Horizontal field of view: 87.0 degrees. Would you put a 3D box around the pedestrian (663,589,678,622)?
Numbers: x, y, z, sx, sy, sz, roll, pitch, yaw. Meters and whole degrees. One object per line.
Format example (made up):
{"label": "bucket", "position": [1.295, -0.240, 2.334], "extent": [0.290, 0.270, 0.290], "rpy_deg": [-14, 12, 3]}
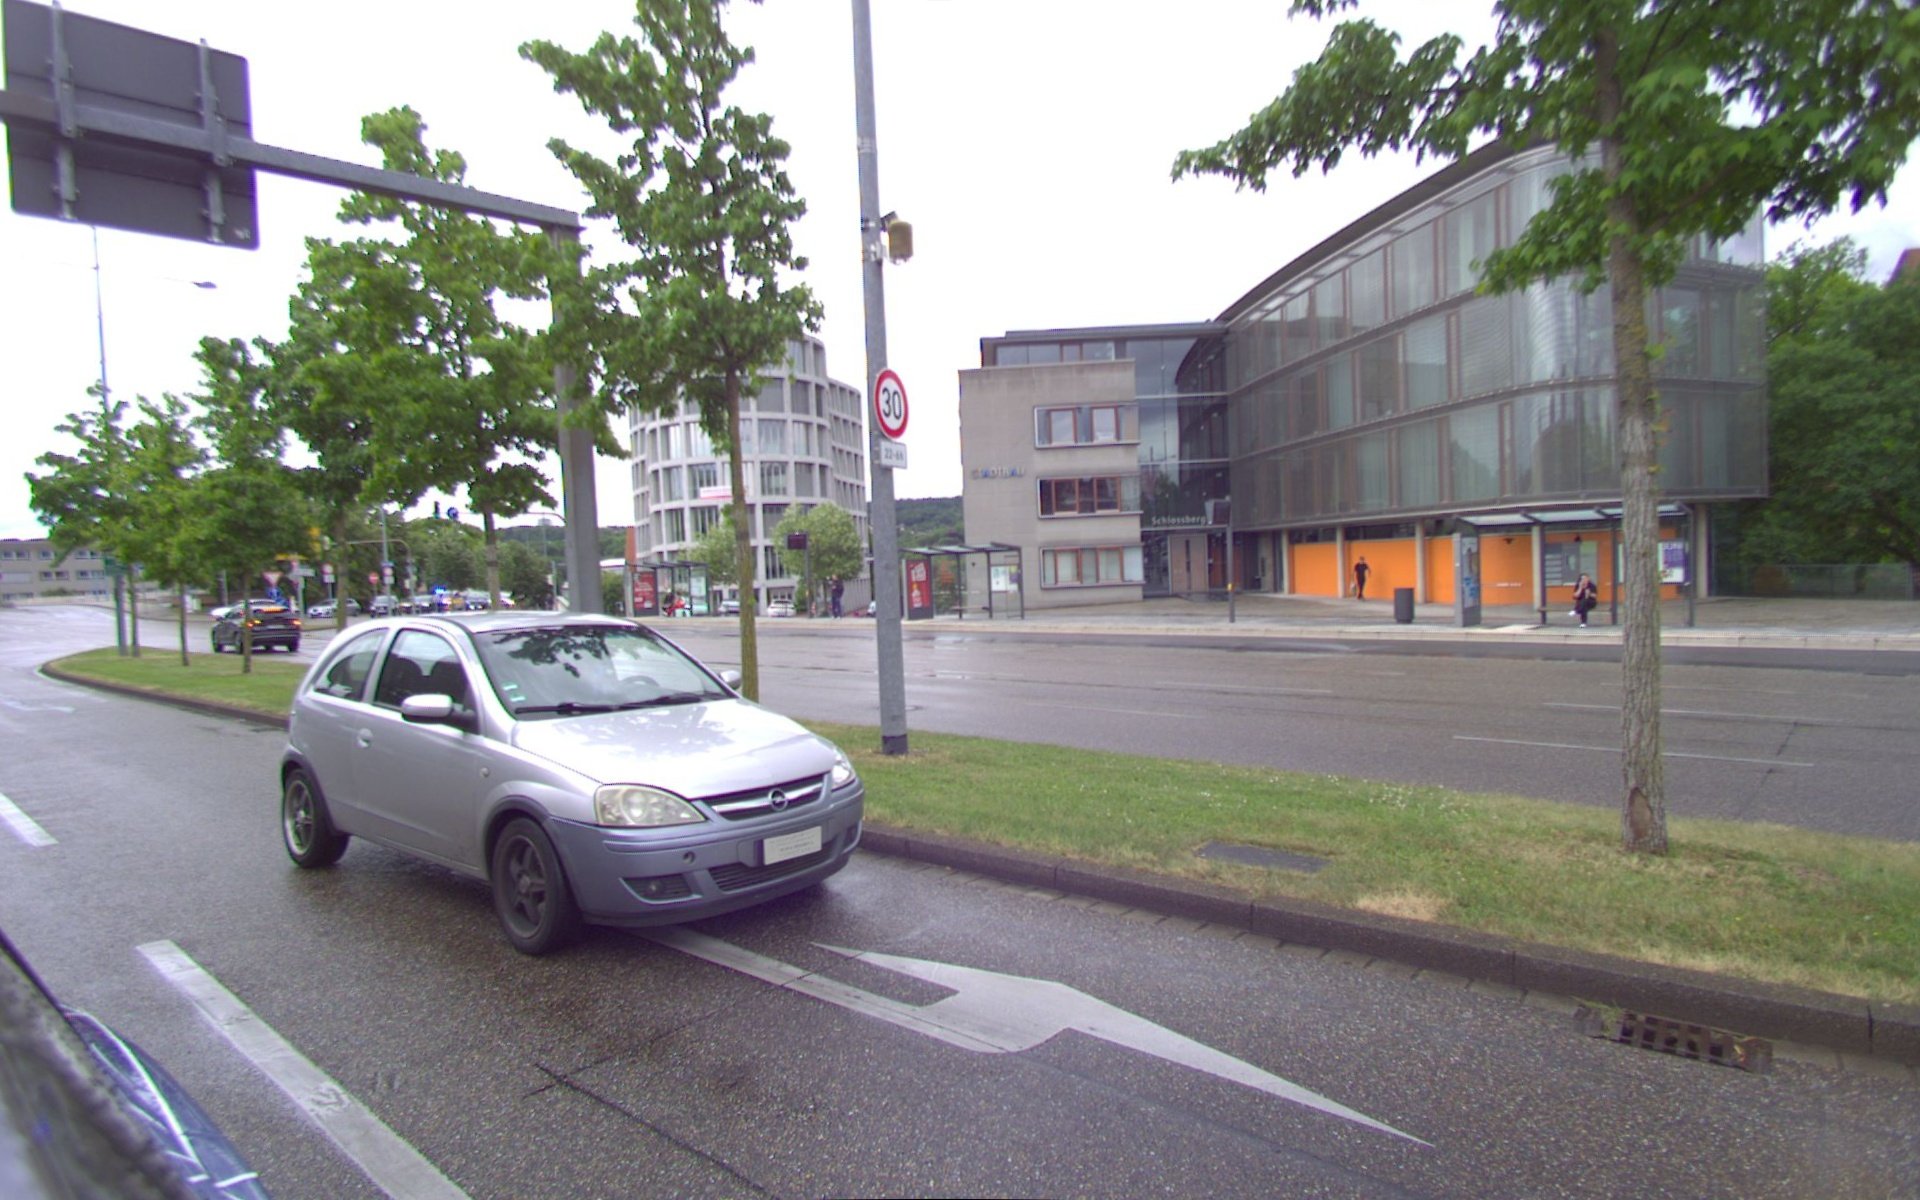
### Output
{"label": "pedestrian", "position": [-14.557, 0.291, 50.913], "extent": [0.535, 1.647, 0.514], "rpy_deg": [-1, 0, 41]}

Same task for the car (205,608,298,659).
{"label": "car", "position": [-25.291, 1.152, 36.048], "extent": [4.600, 1.652, 1.802], "rpy_deg": [-1, 1, 43]}

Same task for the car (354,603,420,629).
{"label": "car", "position": [-41.395, 1.147, 73.287], "extent": [2.164, 1.725, 4.919], "rpy_deg": [-1, 0, -3]}

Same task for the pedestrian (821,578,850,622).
{"label": "pedestrian", "position": [-5.114, 0.008, 41.609], "extent": [0.964, 1.773, 0.783], "rpy_deg": [-1, 0, 12]}

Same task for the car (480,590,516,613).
{"label": "car", "position": [-44.047, 0.137, 96.561], "extent": [1.969, 2.029, 4.005], "rpy_deg": [-1, 0, -6]}

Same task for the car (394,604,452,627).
{"label": "car", "position": [-42.685, 1.209, 80.537], "extent": [2.164, 1.725, 4.919], "rpy_deg": [-1, 0, -3]}

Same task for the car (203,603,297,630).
{"label": "car", "position": [-48.522, 1.103, 69.300], "extent": [2.179, 1.725, 4.885], "rpy_deg": [-1, 0, 19]}

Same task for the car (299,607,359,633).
{"label": "car", "position": [-46.773, 1.463, 75.072], "extent": [1.972, 1.807, 4.000], "rpy_deg": [-1, 0, -1]}

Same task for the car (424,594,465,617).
{"label": "car", "position": [-46.955, 0.497, 92.293], "extent": [2.272, 2.029, 5.048], "rpy_deg": [-2, 0, -14]}

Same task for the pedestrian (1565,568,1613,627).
{"label": "pedestrian", "position": [14.605, -0.051, 23.487], "extent": [0.790, 1.334, 0.793], "rpy_deg": [-1, 0, 42]}

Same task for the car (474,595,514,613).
{"label": "car", "position": [-48.299, 0.423, 104.948], "extent": [2.163, 1.725, 4.922], "rpy_deg": [-1, 0, -5]}

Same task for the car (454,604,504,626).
{"label": "car", "position": [-41.073, 1.248, 86.537], "extent": [2.164, 1.725, 4.920], "rpy_deg": [-1, 0, -3]}

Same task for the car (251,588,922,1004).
{"label": "car", "position": [-2.154, 0.722, 5.397], "extent": [3.730, 1.469, 1.608], "rpy_deg": [-1, 0, 38]}

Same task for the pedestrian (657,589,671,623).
{"label": "pedestrian", "position": [-14.728, 0.297, 50.344], "extent": [0.501, 1.647, 0.497], "rpy_deg": [-1, 0, 41]}

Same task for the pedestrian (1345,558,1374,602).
{"label": "pedestrian", "position": [15.216, -0.748, 38.557], "extent": [0.697, 1.666, 0.852], "rpy_deg": [-1, 0, -6]}
